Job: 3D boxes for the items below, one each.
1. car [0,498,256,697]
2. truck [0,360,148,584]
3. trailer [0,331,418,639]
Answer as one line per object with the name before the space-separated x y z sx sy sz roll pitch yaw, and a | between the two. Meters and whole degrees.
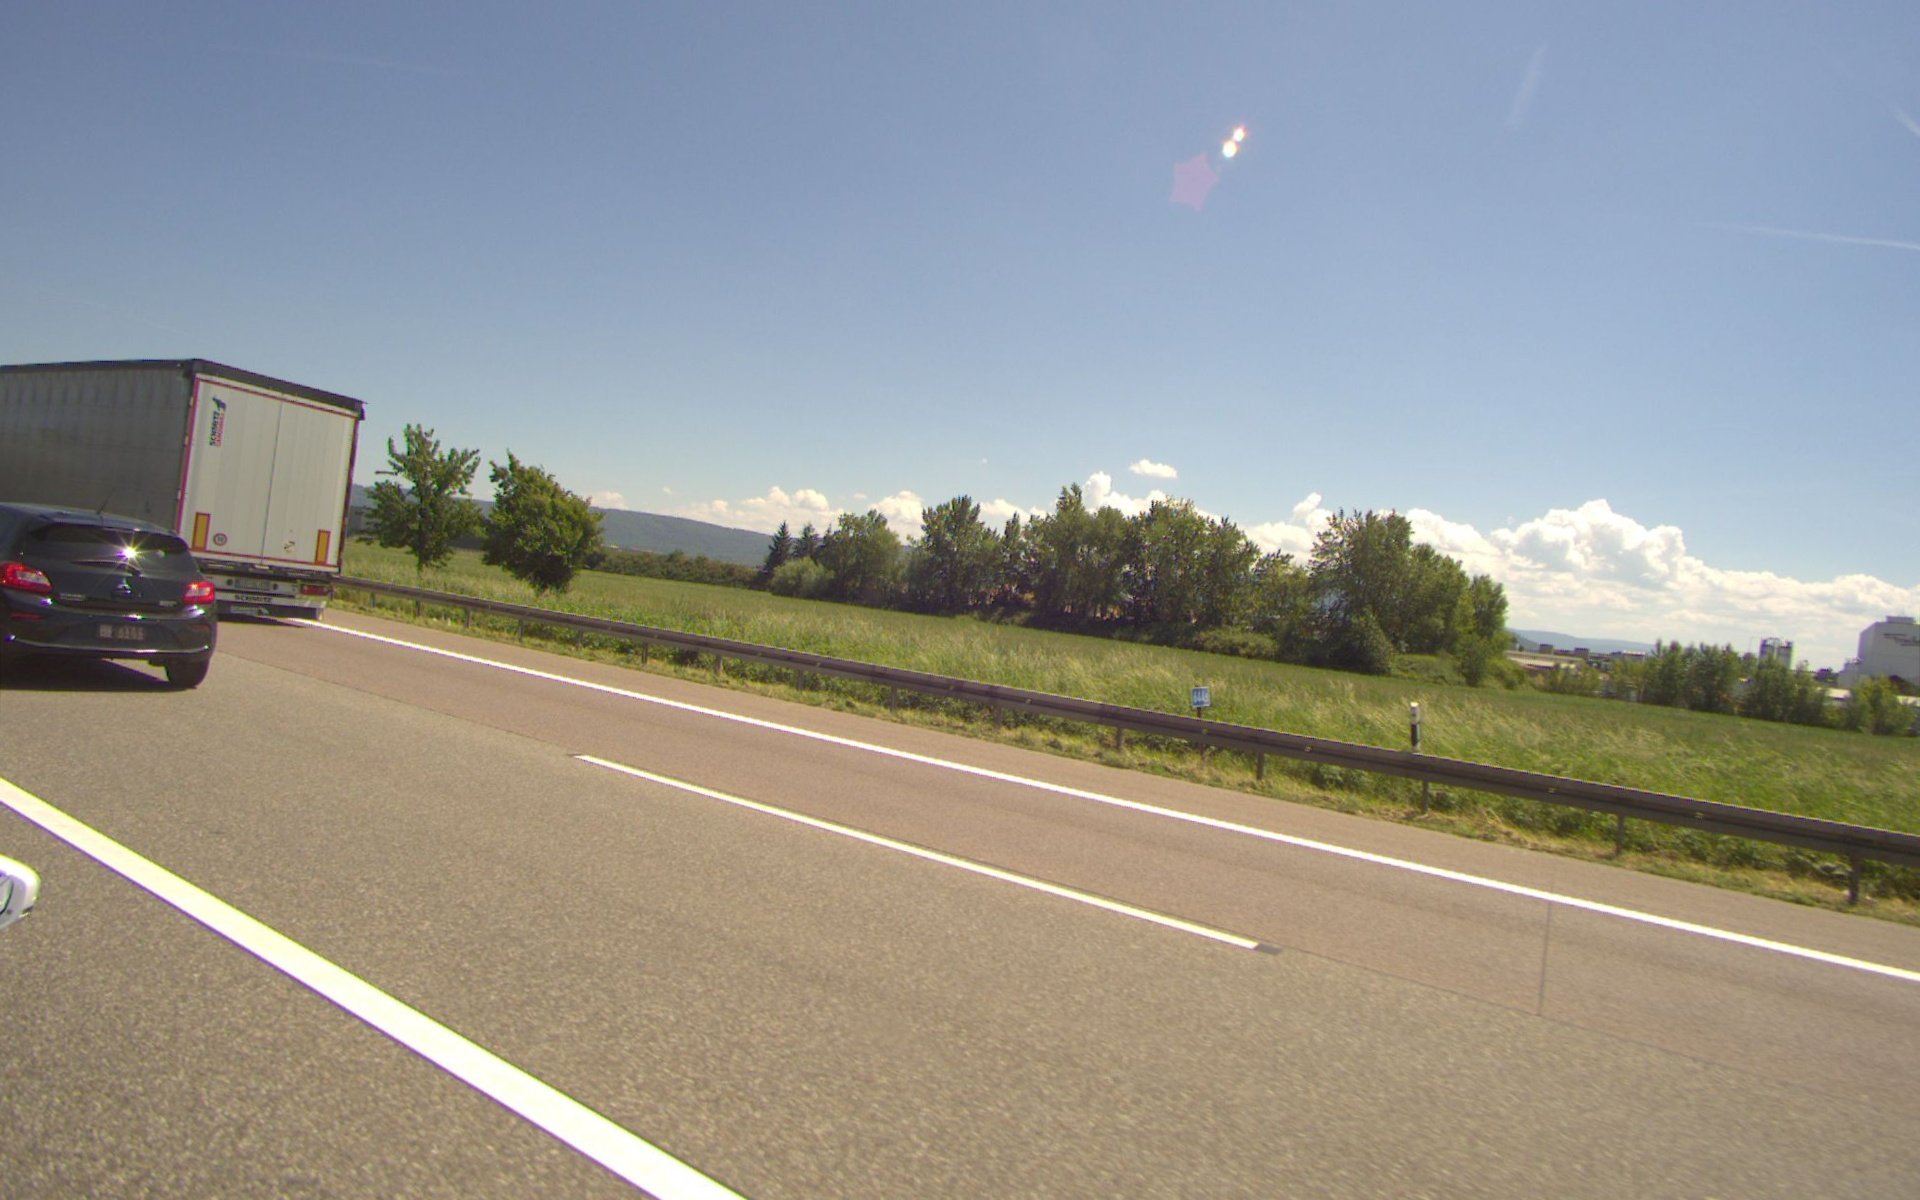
car | -8.320 -0.104 9.238 3.375 1.490 1.691 6 -2 31
truck | -22.415 -2.988 23.467 7.073 4.355 2.815 6 -1 31
trailer | -16.139 -2.294 19.557 14.017 4.355 2.815 6 -1 32
